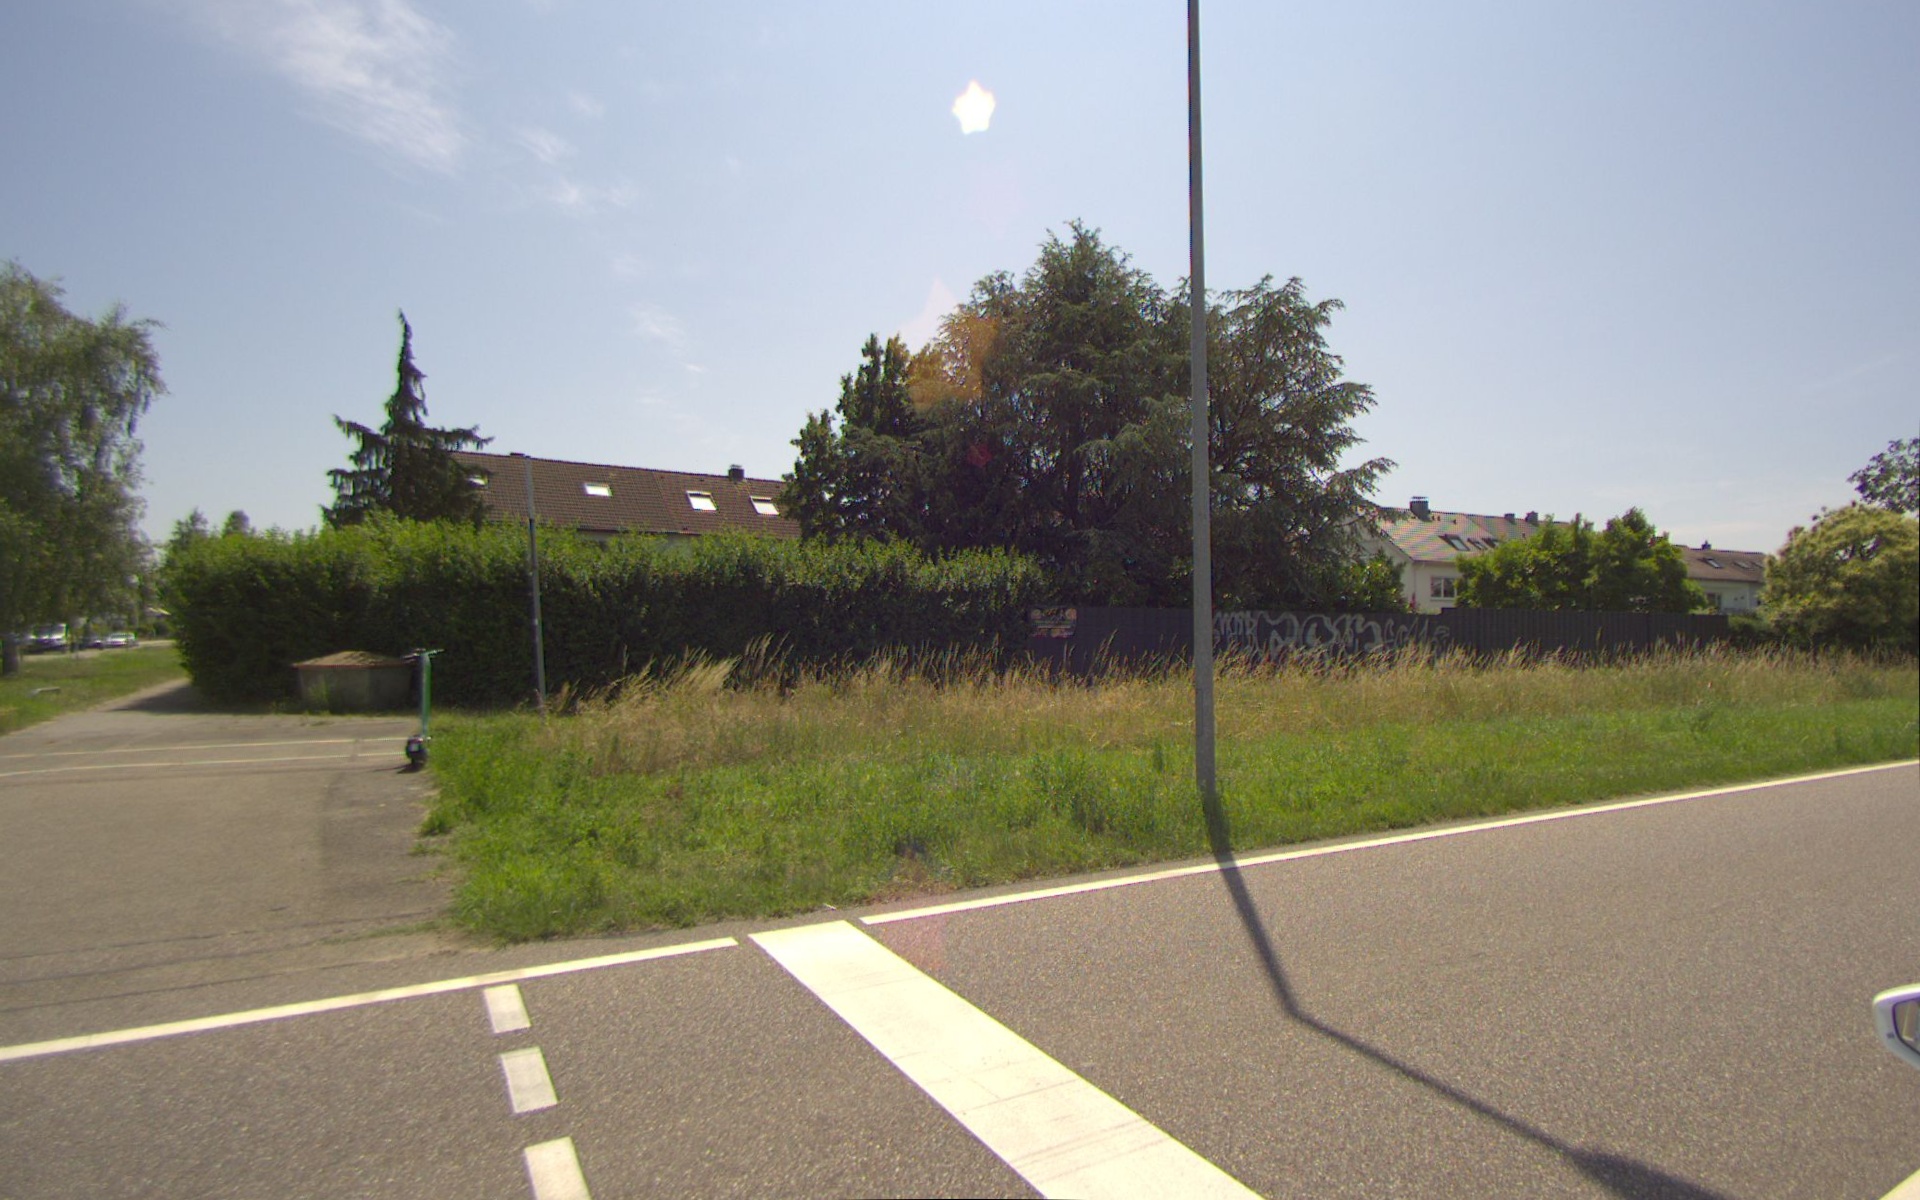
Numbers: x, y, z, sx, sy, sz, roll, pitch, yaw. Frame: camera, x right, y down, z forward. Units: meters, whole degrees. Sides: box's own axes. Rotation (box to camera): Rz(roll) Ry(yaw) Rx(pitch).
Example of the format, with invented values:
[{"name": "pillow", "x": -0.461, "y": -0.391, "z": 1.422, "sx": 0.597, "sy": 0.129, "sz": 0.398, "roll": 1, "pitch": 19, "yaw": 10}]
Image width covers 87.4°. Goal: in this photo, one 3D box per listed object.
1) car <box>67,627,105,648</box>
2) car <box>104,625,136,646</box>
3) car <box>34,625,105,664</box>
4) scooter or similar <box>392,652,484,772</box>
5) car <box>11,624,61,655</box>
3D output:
[{"name": "car", "x": -76.212, "y": 3.262, "z": 87.645, "sx": 1.849, "sy": 1.722, "sz": 4.446, "roll": 2, "pitch": -1, "yaw": -33}, {"name": "car", "x": -83.399, "y": 3.489, "z": 99.738, "sx": 1.849, "sy": 1.996, "sz": 4.446, "roll": 2, "pitch": -1, "yaw": -33}, {"name": "car", "x": -33.752, "y": 1.662, "z": 38.144, "sx": 1.553, "sy": 1.355, "sz": 3.274, "roll": 2, "pitch": -1, "yaw": -34}, {"name": "scooter or similar", "x": -5.427, "y": 1.128, "z": 10.431, "sx": 0.643, "sy": 1.143, "sz": 1.009, "roll": 2, "pitch": -2, "yaw": -39}, {"name": "car", "x": -65.358, "y": 2.772, "z": 71.126, "sx": 1.849, "sy": 1.996, "sz": 4.446, "roll": 2, "pitch": -1, "yaw": -33}]
